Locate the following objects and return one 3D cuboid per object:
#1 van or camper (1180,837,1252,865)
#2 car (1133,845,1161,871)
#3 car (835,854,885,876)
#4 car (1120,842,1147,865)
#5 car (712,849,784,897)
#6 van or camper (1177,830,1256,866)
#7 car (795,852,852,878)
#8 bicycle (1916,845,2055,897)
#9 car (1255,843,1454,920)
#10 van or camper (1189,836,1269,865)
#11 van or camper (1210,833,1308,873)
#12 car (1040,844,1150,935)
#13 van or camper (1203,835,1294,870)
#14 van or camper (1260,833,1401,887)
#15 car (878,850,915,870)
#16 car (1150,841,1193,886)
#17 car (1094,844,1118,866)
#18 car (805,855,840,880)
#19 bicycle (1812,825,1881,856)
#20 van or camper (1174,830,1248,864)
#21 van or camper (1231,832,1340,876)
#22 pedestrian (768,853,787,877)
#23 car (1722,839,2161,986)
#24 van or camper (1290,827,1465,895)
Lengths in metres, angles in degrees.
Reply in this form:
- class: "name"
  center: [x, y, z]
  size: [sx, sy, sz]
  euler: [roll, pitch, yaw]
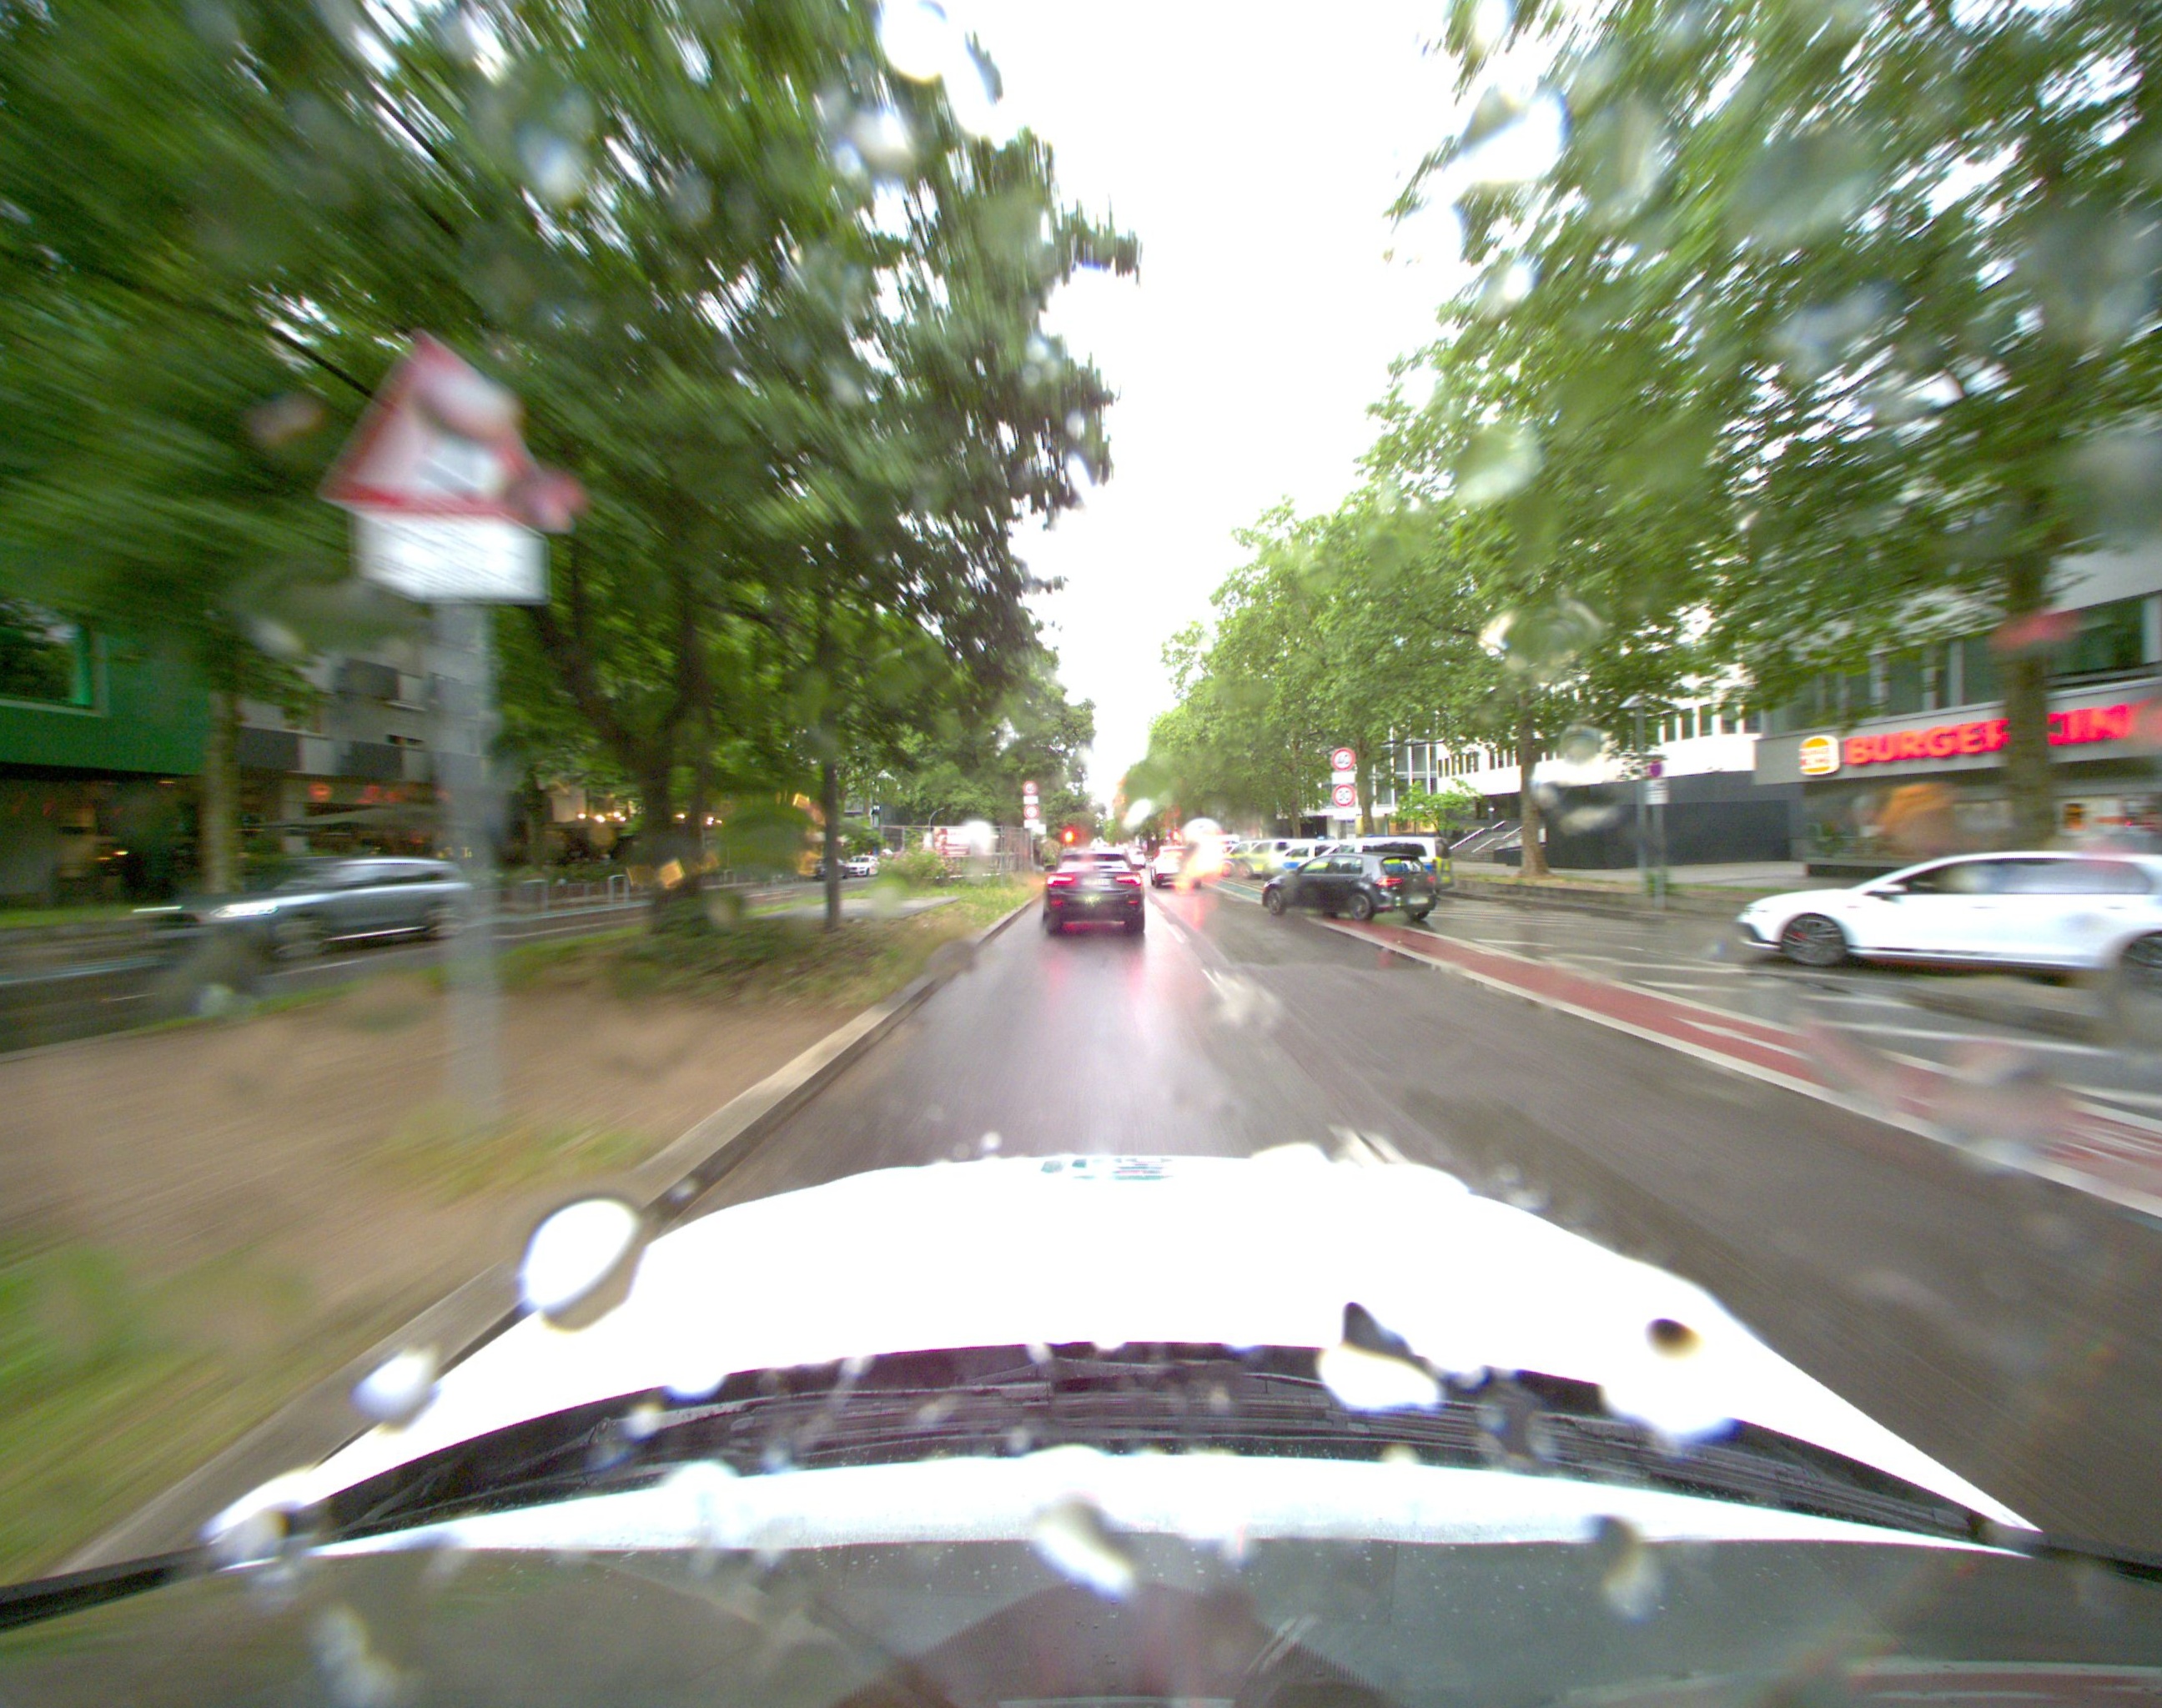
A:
- class: "van or camper"
  center: [10.081, -0.192, 61.083]
  size: [4.952, 2.014, 2.013]
  euler: [-1, -1, 37]
- class: "car"
  center: [4.764, 0.271, 59.114]
  size: [1.815, 1.749, 4.002]
  euler: [-2, 1, 2]
- class: "car"
  center: [-14.891, 0.704, 55.083]
  size: [1.986, 1.370, 4.541]
  euler: [1, 1, 1]
- class: "car"
  center: [4.339, -0.079, 67.718]
  size: [1.986, 1.749, 4.002]
  euler: [-2, 1, 1]
- class: "car"
  center: [-12.534, 0.659, 30.911]
  size: [1.720, 1.626, 4.423]
  euler: [-1, 1, -12]
- class: "van or camper"
  center: [10.586, -0.427, 63.912]
  size: [5.736, 2.680, 2.013]
  euler: [-1, 0, 36]
- class: "car"
  center: [-15.138, 0.640, 48.109]
  size: [1.818, 1.394, 4.485]
  euler: [-1, 0, 1]
- class: "bicycle"
  center: [18.384, 0.320, 16.626]
  size: [0.640, 0.923, 1.912]
  euler: [-4, 1, -3]
- class: "car"
  center: [5.792, 0.531, 17.738]
  size: [1.775, 1.412, 3.964]
  euler: [-2, 1, -28]
- class: "van or camper"
  center: [10.369, -0.238, 57.239]
  size: [5.142, 1.992, 2.013]
  euler: [0, 0, 36]
- class: "van or camper"
  center: [9.503, -0.043, 43.639]
  size: [4.733, 2.011, 2.013]
  euler: [-1, 0, 37]
- class: "car"
  center: [0.349, 0.578, 16.251]
  size: [1.856, 1.532, 4.530]
  euler: [-1, 1, 3]
- class: "van or camper"
  center: [10.333, -0.074, 50.424]
  size: [5.042, 2.025, 2.119]
  euler: [-1, 1, 39]
- class: "van or camper"
  center: [9.941, 0.207, 32.637]
  size: [5.023, 2.019, 2.010]
  euler: [0, 1, 37]
- class: "car"
  center: [-14.815, 0.455, 65.612]
  size: [1.988, 1.509, 4.517]
  euler: [-2, 1, -1]
- class: "car"
  center: [3.589, 0.338, 32.589]
  size: [1.428, 1.685, 2.980]
  euler: [-2, 1, 2]
- class: "car"
  center: [1.832, 0.048, 60.232]
  size: [1.715, 1.577, 3.963]
  euler: [-1, 1, 1]
- class: "car"
  center: [-15.017, 0.766, 47.333]
  size: [1.046, 1.387, 2.695]
  euler: [-2, 1, 2]
- class: "bicycle"
  center: [31.204, -0.546, 33.238]
  size: [0.684, 1.173, 2.288]
  euler: [-1, 1, 1]
- class: "van or camper"
  center: [10.713, -0.556, 67.375]
  size: [5.741, 2.677, 2.161]
  euler: [-1, 0, 38]
- class: "van or camper"
  center: [9.907, 0.017, 39.651]
  size: [4.792, 1.998, 1.880]
  euler: [-1, 0, 38]
- class: "pedestrian"
  center: [-18.148, 0.659, 48.662]
  size: [0.761, 1.380, 0.933]
  euler: [-1, 0, -2]
- class: "car"
  center: [10.571, 0.574, 9.573]
  size: [1.876, 1.445, 4.458]
  euler: [0, 0, -38]
- class: "van or camper"
  center: [9.433, 0.199, 26.118]
  size: [4.884, 1.992, 2.015]
  euler: [0, 0, 39]
